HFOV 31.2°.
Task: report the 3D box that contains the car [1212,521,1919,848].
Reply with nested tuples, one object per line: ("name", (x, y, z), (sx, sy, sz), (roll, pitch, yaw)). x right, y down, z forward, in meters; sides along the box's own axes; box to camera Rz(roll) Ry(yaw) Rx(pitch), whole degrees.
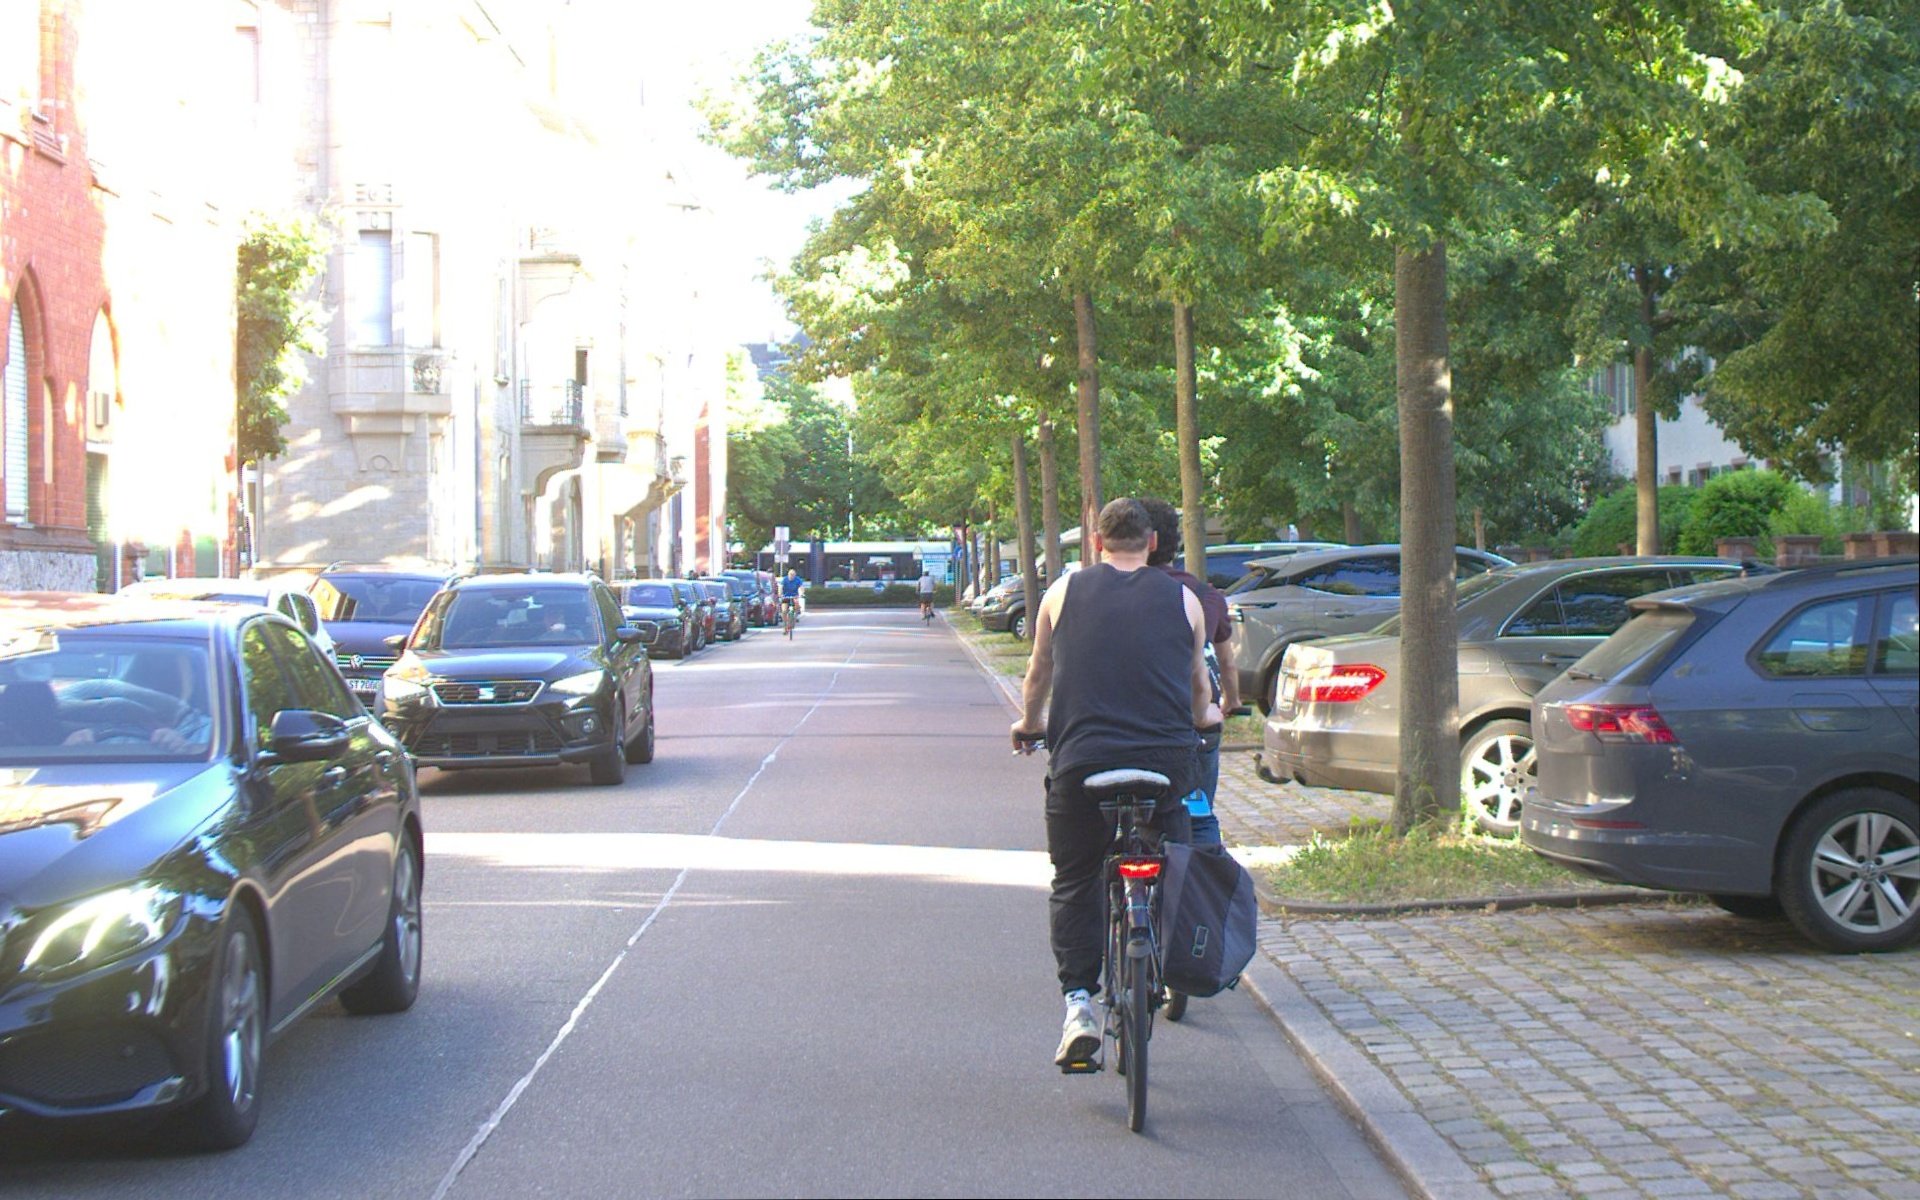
("car", (3.644, 0.435, 18.983), (4.242, 1.600, 1.754), (-2, -1, -3))

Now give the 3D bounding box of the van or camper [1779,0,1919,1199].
("van or camper", (4.494, 0.021, 5.700), (5.573, 2.528, 2.268), (-3, -1, -2))

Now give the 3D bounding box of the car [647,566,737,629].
("car", (-6.690, -0.040, 86.097), (1.993, 1.525, 4.000), (0, -1, -1))

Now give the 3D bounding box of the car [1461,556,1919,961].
("car", (4.346, 0.552, 13.424), (4.502, 1.448, 1.816), (-1, 0, 1))

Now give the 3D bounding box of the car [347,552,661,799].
("car", (-3.287, 0.516, 25.498), (1.767, 1.594, 4.090), (-3, 0, -1))

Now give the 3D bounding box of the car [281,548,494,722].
("car", (-5.794, 0.357, 35.177), (1.630, 1.660, 3.969), (0, -1, -2))

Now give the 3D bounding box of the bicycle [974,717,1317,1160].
("bicycle", (0.479, 0.893, 9.745), (0.696, 1.069, 1.969), (0, -1, -5))

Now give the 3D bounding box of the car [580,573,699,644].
("car", (-6.159, 0.183, 66.449), (1.971, 1.315, 4.000), (0, -1, -1))

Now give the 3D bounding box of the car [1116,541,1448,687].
("car", (4.286, 0.192, 46.197), (4.243, 1.791, 1.854), (-2, -1, 1))

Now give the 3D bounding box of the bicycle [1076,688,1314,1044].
("bicycle", (0.786, 0.877, 11.991), (0.555, 1.069, 1.969), (0, 0, -4))

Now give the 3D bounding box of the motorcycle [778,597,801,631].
("motorcycle", (-4.202, 0.335, 84.555), (0.551, 0.798, 1.308), (-1, 1, -3))

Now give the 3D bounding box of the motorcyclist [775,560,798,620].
("motorcyclist", (-4.264, -0.253, 84.467), (0.551, 1.443, 0.688), (-1, 1, -3))

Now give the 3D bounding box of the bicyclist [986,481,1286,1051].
("bicyclist", (0.478, 0.448, 9.724), (0.706, 1.521, 0.972), (0, -1, -5))

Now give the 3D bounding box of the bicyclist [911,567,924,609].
("bicyclist", (-1.374, -0.392, 112.097), (0.417, 1.346, 0.430), (0, -1, -1))

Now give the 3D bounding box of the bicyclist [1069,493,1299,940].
("bicyclist", (0.780, 0.401, 12.237), (0.718, 1.521, 0.972), (0, -1, -1))

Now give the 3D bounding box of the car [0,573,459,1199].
("car", (-2.757, 0.730, 10.172), (1.896, 1.481, 4.381), (-2, -1, 0))

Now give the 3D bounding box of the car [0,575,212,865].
("car", (-5.807, 0.618, 20.527), (1.755, 1.512, 4.115), (3, 0, -1))

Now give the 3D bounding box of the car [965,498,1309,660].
("car", (3.845, -0.442, 75.609), (7.333, 3.271, 2.223), (-2, -1, 1))

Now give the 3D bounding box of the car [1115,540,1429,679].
("car", (4.378, 0.141, 48.784), (4.243, 1.791, 1.854), (-2, -1, 1))

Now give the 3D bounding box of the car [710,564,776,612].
("car", (-7.254, -0.393, 115.220), (1.993, 1.525, 4.000), (0, -1, -1))

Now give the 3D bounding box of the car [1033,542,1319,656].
("car", (3.666, -0.004, 59.081), (4.757, 1.774, 1.854), (-2, -1, 1))

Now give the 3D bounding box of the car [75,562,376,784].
("car", (-5.610, 0.530, 26.647), (1.491, 1.512, 3.775), (3, 0, -1))

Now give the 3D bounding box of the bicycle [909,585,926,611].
("bicycle", (-1.373, -0.063, 112.121), (0.541, 0.825, 1.919), (0, -1, -1))

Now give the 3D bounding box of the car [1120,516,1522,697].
("car", (3.963, 0.079, 38.277), (4.243, 1.833, 1.854), (-2, -1, 1))

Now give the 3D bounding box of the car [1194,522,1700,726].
("car", (4.300, 0.218, 30.868), (4.243, 1.642, 1.854), (-2, -1, 1))
